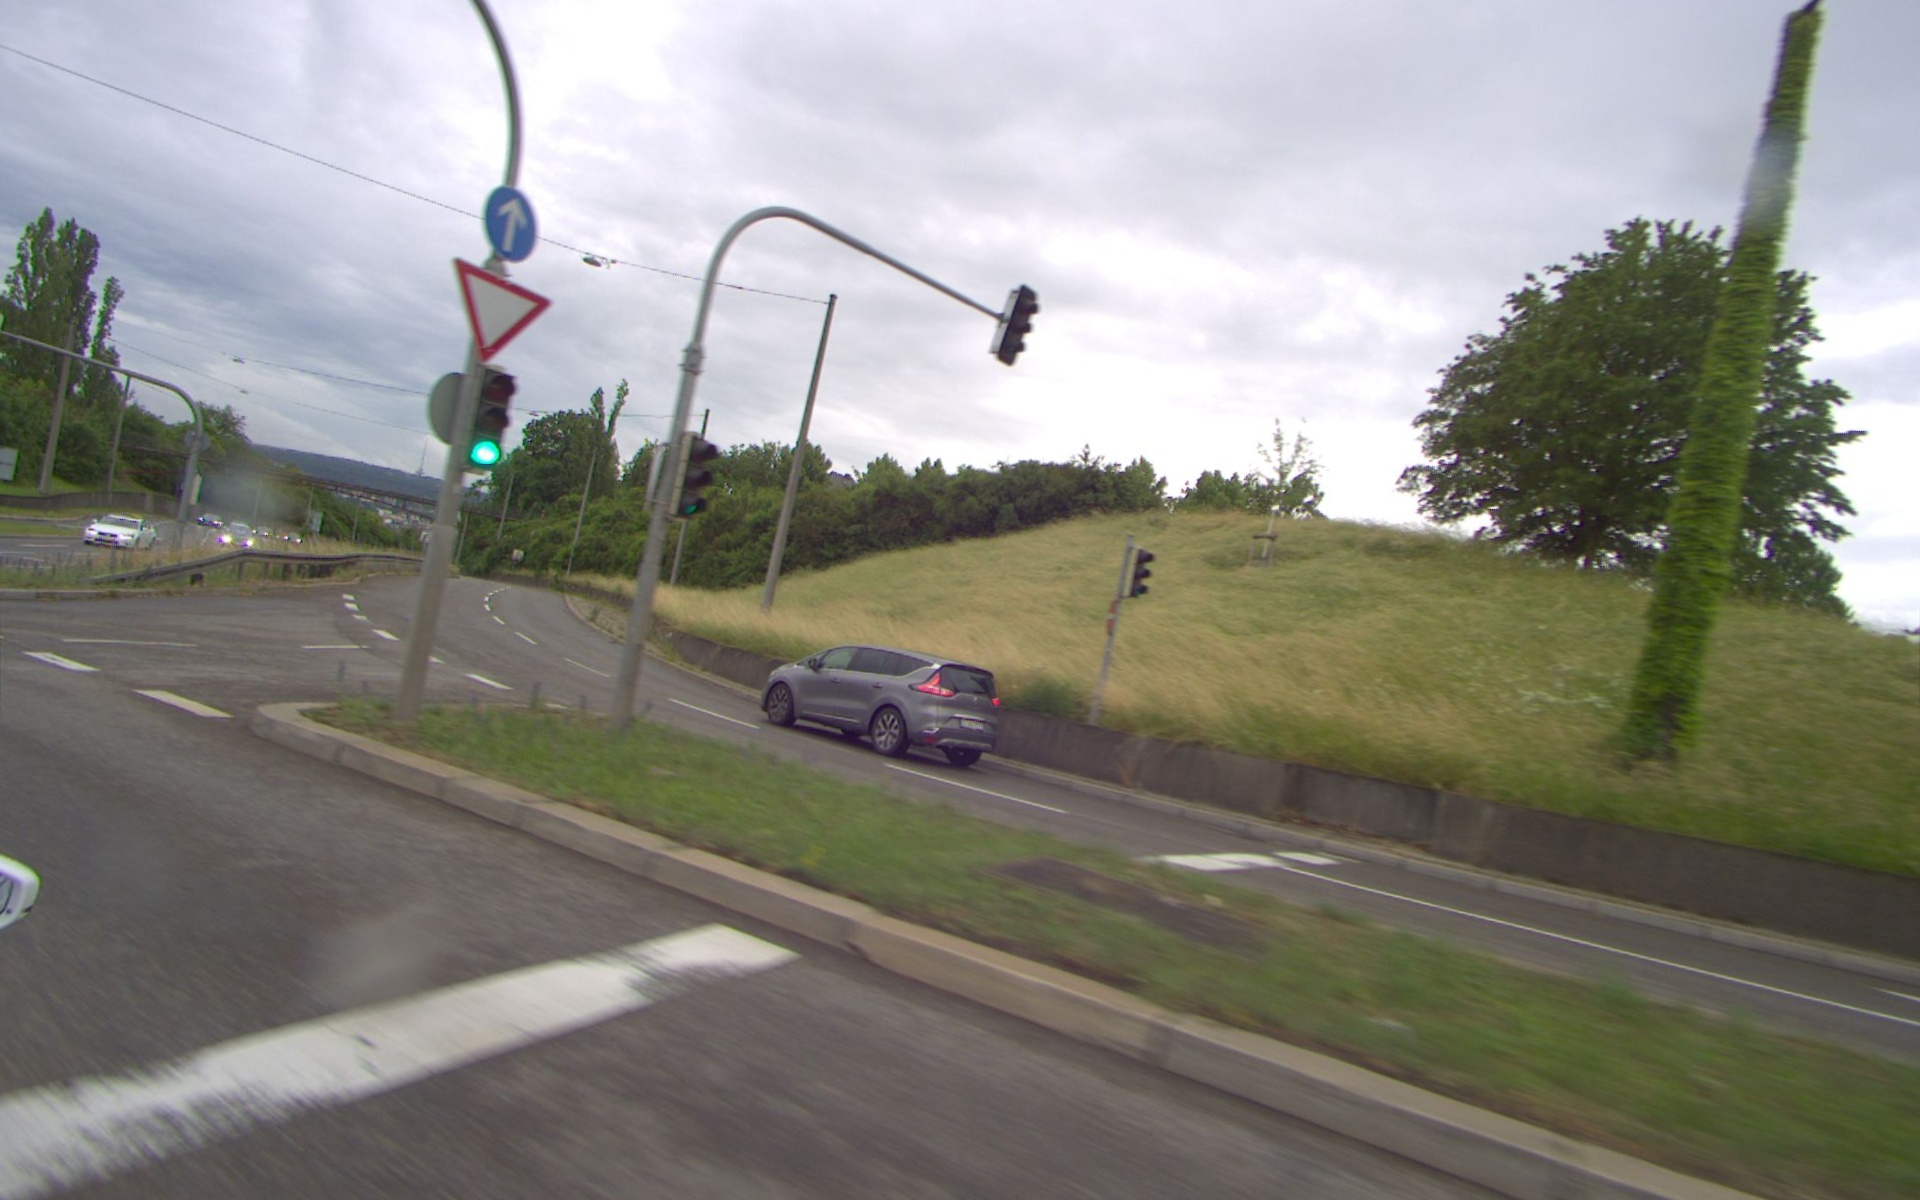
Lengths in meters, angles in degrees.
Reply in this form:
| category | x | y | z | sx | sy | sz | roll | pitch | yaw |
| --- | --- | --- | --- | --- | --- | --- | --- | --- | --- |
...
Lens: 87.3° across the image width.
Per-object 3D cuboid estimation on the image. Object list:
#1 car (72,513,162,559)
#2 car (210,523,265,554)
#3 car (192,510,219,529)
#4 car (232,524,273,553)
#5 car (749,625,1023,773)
| category | x | y | z | sx | sy | sz | roll | pitch | yaw |
| --- | --- | --- | --- | --- | --- | --- | --- | --- | --- |
| car | -38.665 | -2.939 | 46.251 | 1.979 | 1.635 | 3.974 | 12 | -2 | -26 |
| car | -48.823 | -4.149 | 68.069 | 1.979 | 1.635 | 4.343 | 12 | -2 | -25 |
| car | -83.987 | -9.010 | 112.080 | 1.869 | 1.671 | 4.087 | 12 | -2 | -33 |
| car | -54.938 | -4.802 | 78.088 | 1.990 | 1.635 | 4.320 | 13 | -2 | -41 |
| car | -1.348 | 1.569 | 16.694 | 4.565 | 1.665 | 1.725 | 5 | -6 | 44 |
